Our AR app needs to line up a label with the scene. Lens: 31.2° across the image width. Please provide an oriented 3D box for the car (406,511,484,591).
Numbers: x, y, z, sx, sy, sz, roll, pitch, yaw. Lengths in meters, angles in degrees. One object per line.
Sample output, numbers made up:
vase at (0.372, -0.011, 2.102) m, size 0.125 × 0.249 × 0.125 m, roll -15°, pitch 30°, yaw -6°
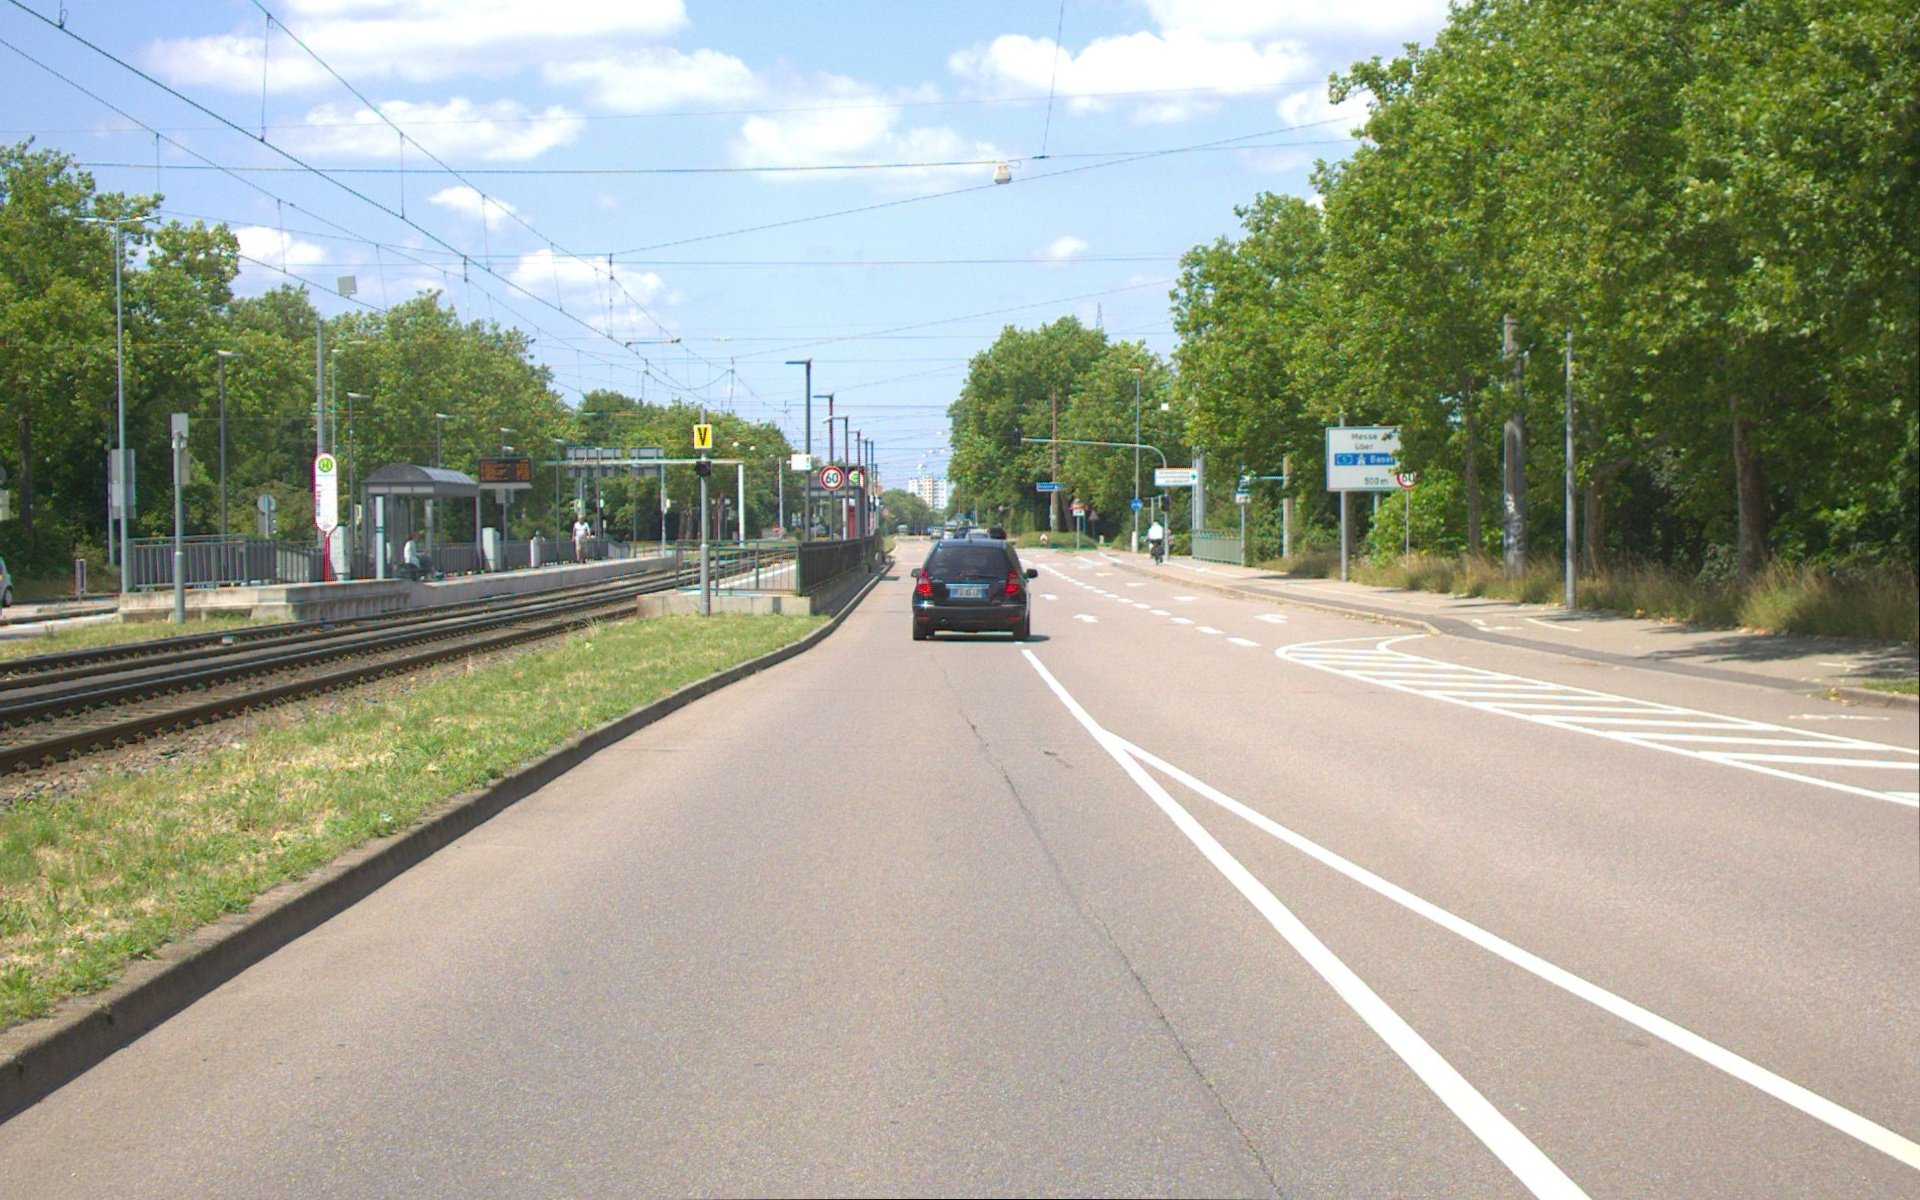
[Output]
car at (-13.779, -1.326, 92.146) m, size 1.585 × 2.006 × 4.111 m, roll 1°, pitch 2°, yaw -2°

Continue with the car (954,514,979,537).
car at (0.457, -5.190, 238.823) m, size 1.677 × 1.512 × 4.001 m, roll 1°, pitch 2°, yaw -1°

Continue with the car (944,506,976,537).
car at (0.009, -5.086, 223.470) m, size 1.993 × 2.007 × 4.000 m, roll 0°, pitch 1°, yaw -1°

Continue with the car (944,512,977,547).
car at (0.022, -4.396, 213.761) m, size 1.993 × 2.006 × 4.001 m, roll 1°, pitch 2°, yaw -1°

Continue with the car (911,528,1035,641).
car at (0.207, -0.279, 54.159) m, size 1.853 × 1.564 × 4.389 m, roll 1°, pitch 3°, yaw 0°

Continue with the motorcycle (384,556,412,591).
motorcycle at (-14.843, -0.703, 90.783) m, size 0.231 × 0.895 × 0.882 m, roll 1°, pitch 1°, yaw 31°

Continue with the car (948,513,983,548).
car at (0.327, -4.180, 205.985) m, size 1.993 × 2.006 × 4.001 m, roll 1°, pitch 2°, yaw -1°

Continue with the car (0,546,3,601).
car at (-28.645, -0.735, 97.346) m, size 1.993 × 1.568 × 4.000 m, roll 0°, pitch 1°, yaw 0°

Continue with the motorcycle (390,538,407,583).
motorcycle at (-14.832, -1.047, 90.810) m, size 0.283 × 1.169 × 0.391 m, roll 1°, pitch 1°, yaw 31°

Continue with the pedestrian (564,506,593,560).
pedestrian at (-14.242, -2.509, 128.382) m, size 0.952 × 2.006 × 0.892 m, roll 1°, pitch 2°, yaw -1°

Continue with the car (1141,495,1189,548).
car at (8.194, -3.153, 137.439) m, size 1.612 × 2.006 × 3.440 m, roll 1°, pitch 2°, yaw -1°

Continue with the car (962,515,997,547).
car at (1.138, -3.944, 195.408) m, size 1.885 × 1.634 × 4.000 m, roll 3°, pitch 2°, yaw 0°
